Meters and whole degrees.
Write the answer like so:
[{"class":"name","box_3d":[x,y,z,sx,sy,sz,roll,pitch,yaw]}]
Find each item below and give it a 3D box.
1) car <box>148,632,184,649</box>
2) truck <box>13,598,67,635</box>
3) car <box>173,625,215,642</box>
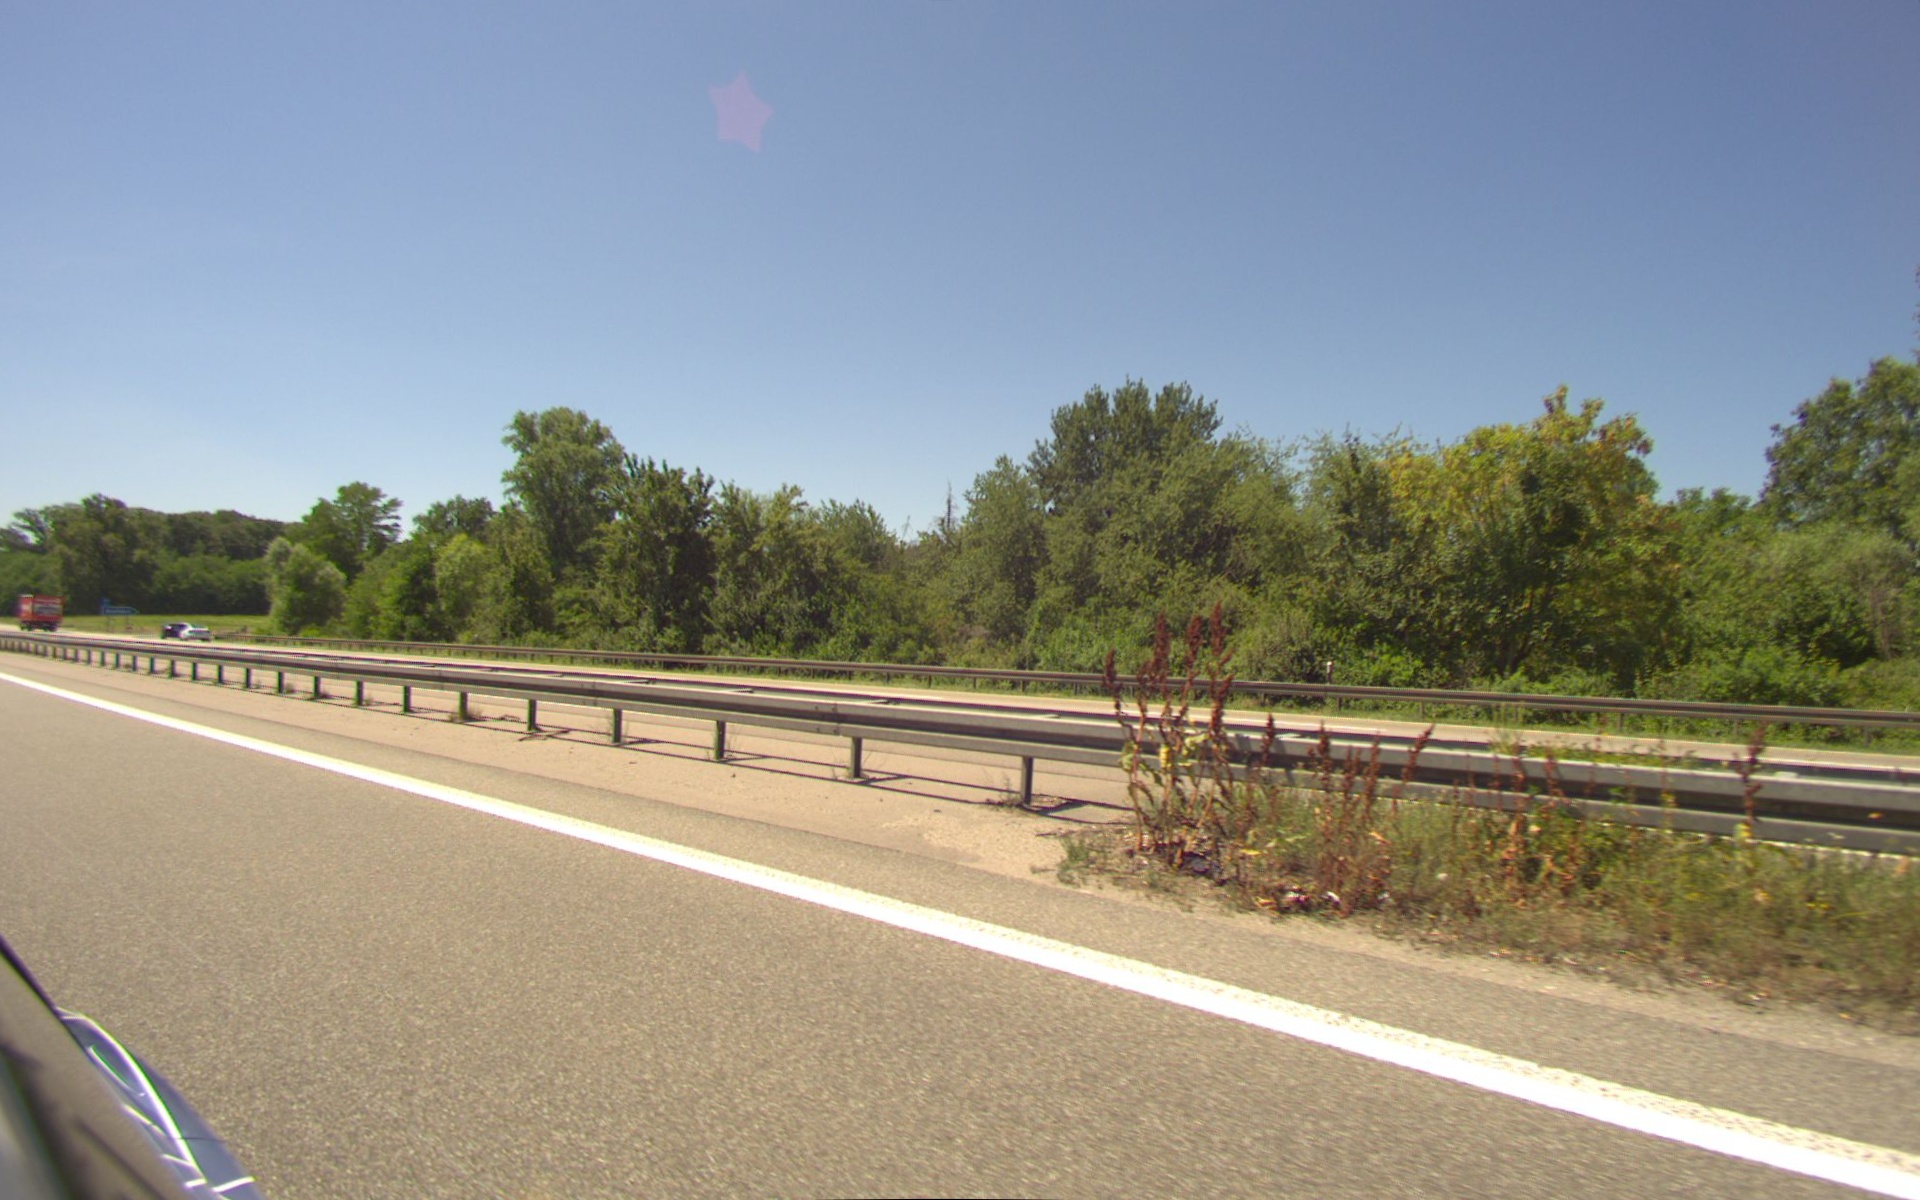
[{"class":"car","box_3d":[-75.354,3.843,96.053,4.267,1.590,1.972,-1,-3,43]},{"class":"truck","box_3d":[-99.034,1.790,108.867,9.799,3.755,3.033,-1,-2,41]},{"class":"car","box_3d":[-67.054,2.891,88.558,4.970,1.423,1.973,-1,-2,41]}]
